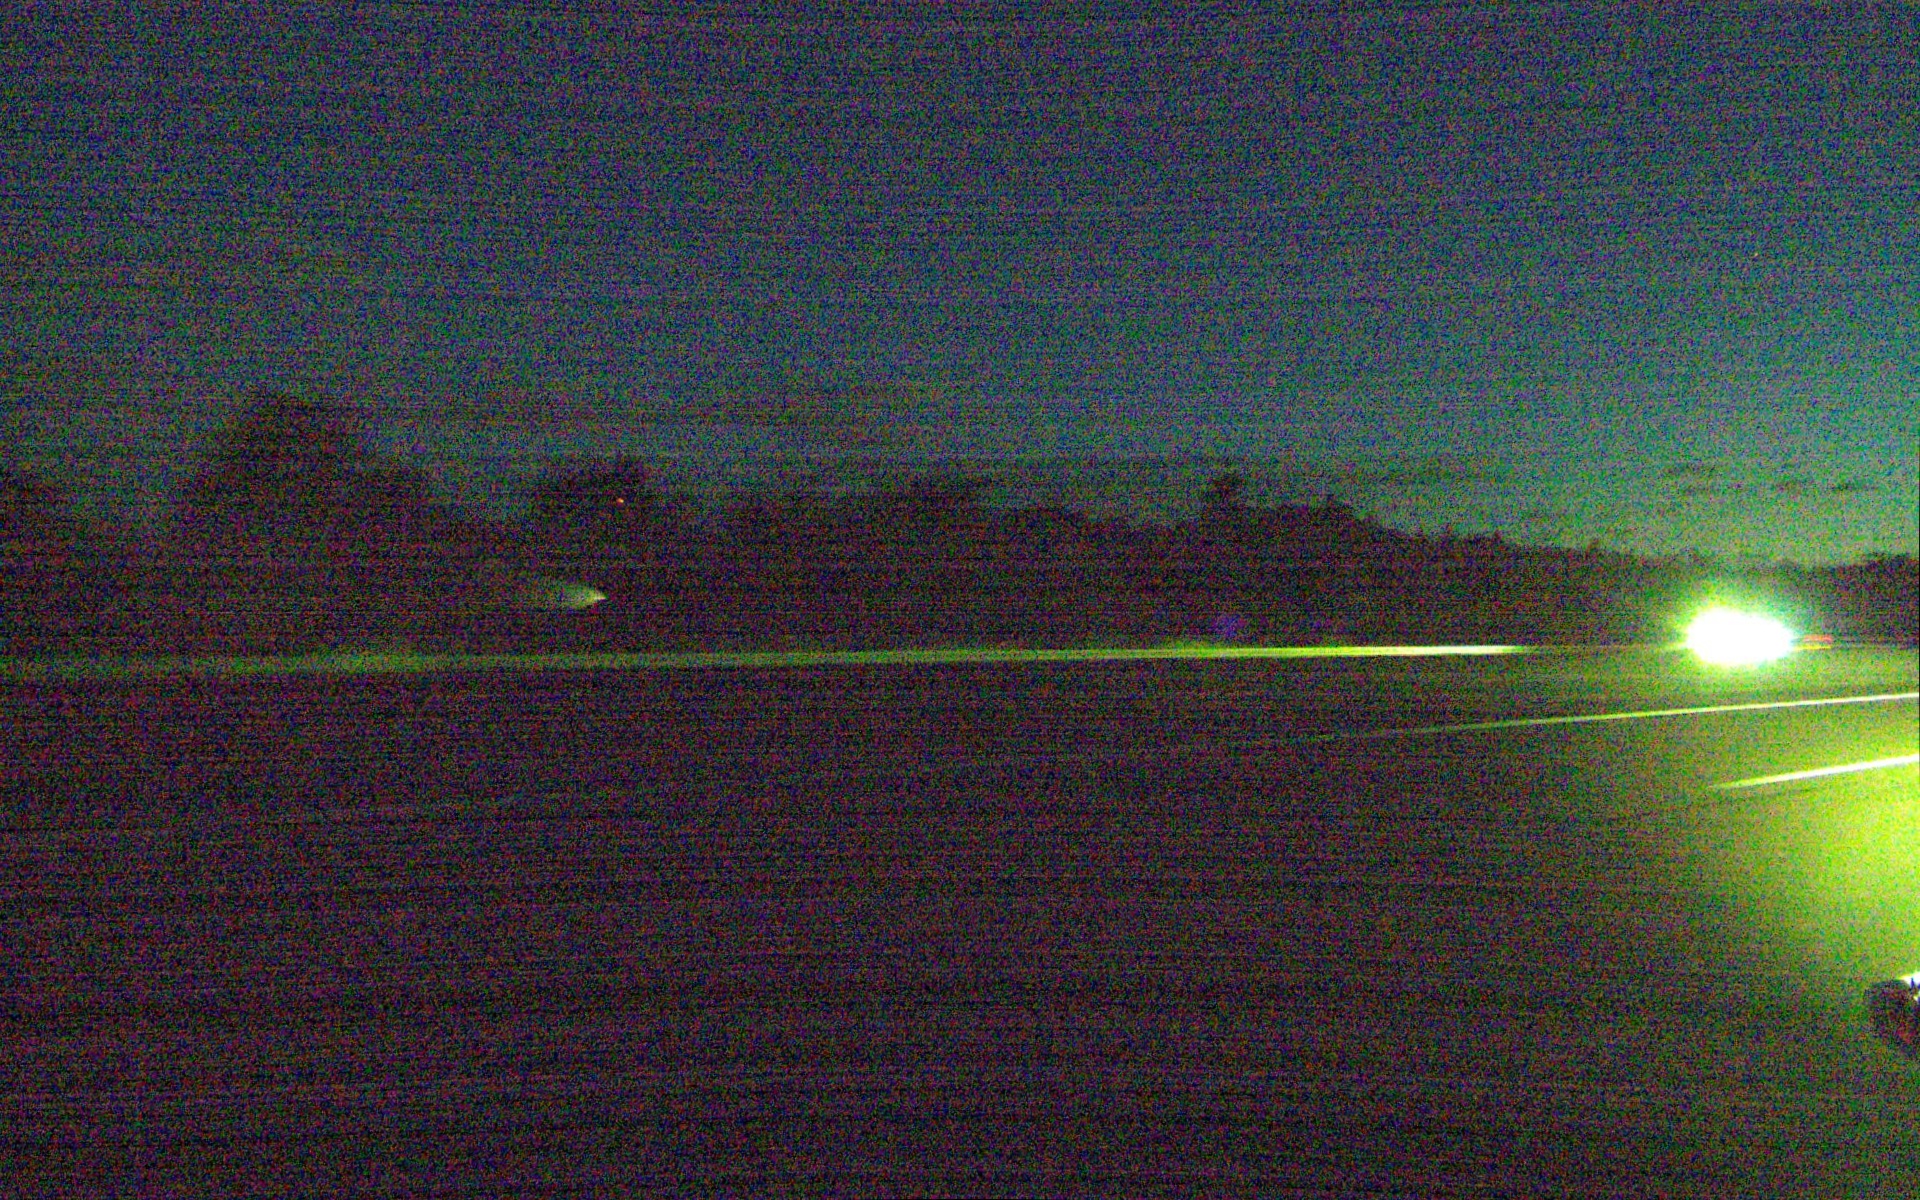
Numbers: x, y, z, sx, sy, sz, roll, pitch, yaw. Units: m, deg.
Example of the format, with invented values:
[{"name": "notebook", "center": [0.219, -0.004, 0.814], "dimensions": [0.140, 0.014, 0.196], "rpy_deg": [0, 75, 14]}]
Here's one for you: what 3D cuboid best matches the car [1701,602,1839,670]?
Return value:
[{"name": "car", "center": [38.051, 1.701, 47.136], "dimensions": [6.523, 2.976, 2.833], "rpy_deg": [2, -1, -30]}]
